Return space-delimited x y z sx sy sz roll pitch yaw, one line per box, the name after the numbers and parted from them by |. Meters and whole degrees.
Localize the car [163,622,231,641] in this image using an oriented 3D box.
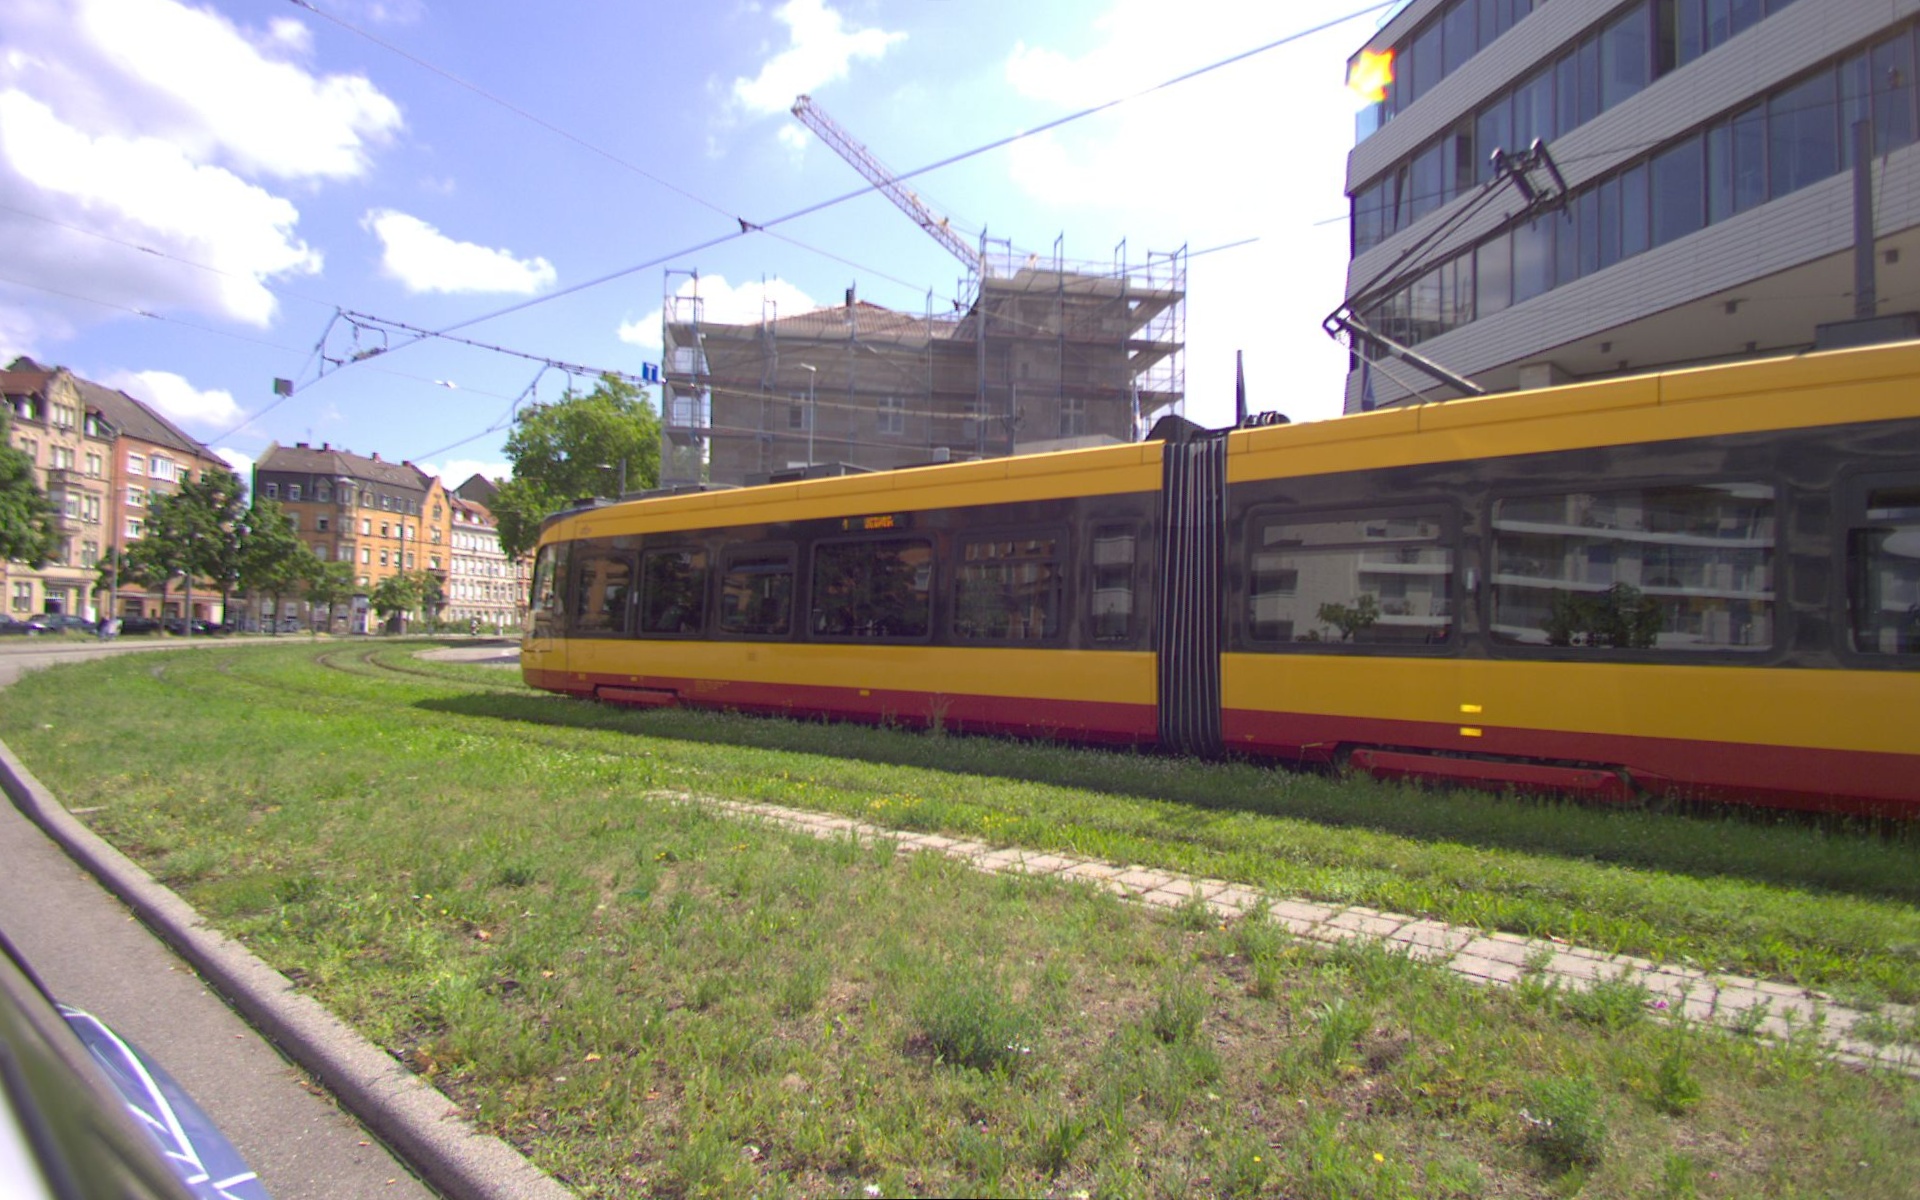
-57.126 2.369 75.852 3.932 1.364 1.967 0 -2 -33 | car

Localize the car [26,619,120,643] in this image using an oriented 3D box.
-54.659 1.910 62.390 1.853 1.391 4.208 -2 -2 43 | car

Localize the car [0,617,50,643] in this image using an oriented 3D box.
-53.403 1.656 56.124 1.853 1.391 4.208 -2 -2 43 | car

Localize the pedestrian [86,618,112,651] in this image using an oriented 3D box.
-46.941 1.879 55.181 0.691 1.717 1.047 1 1 -12 | pedestrian

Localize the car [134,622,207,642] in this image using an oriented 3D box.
-56.547 2.260 72.515 3.939 1.391 1.963 1 -2 -43 | car

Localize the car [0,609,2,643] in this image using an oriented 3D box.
-52.537 1.355 52.326 1.853 1.754 4.303 -2 -2 43 | car

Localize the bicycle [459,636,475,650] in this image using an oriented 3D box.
-47.250 4.108 96.978 0.685 1.251 1.842 6 -4 -6 | bicycle

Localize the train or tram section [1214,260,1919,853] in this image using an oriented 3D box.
7.404 -0.222 6.800 10.994 3.631 3.021 -1 -4 43 | train or tram section

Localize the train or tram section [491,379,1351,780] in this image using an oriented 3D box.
-1.753 -0.047 14.563 13.481 3.627 3.185 -1 -3 38 | train or tram section

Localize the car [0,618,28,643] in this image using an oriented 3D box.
-64.043 2.029 66.644 1.808 1.628 4.505 0 -1 -10 | car

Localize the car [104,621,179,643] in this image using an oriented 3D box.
-56.042 2.183 69.346 3.935 1.391 1.965 1 -2 -38 | car

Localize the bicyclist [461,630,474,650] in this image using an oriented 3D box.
-47.225 3.816 96.998 0.686 1.838 0.957 6 -4 -6 | bicyclist
